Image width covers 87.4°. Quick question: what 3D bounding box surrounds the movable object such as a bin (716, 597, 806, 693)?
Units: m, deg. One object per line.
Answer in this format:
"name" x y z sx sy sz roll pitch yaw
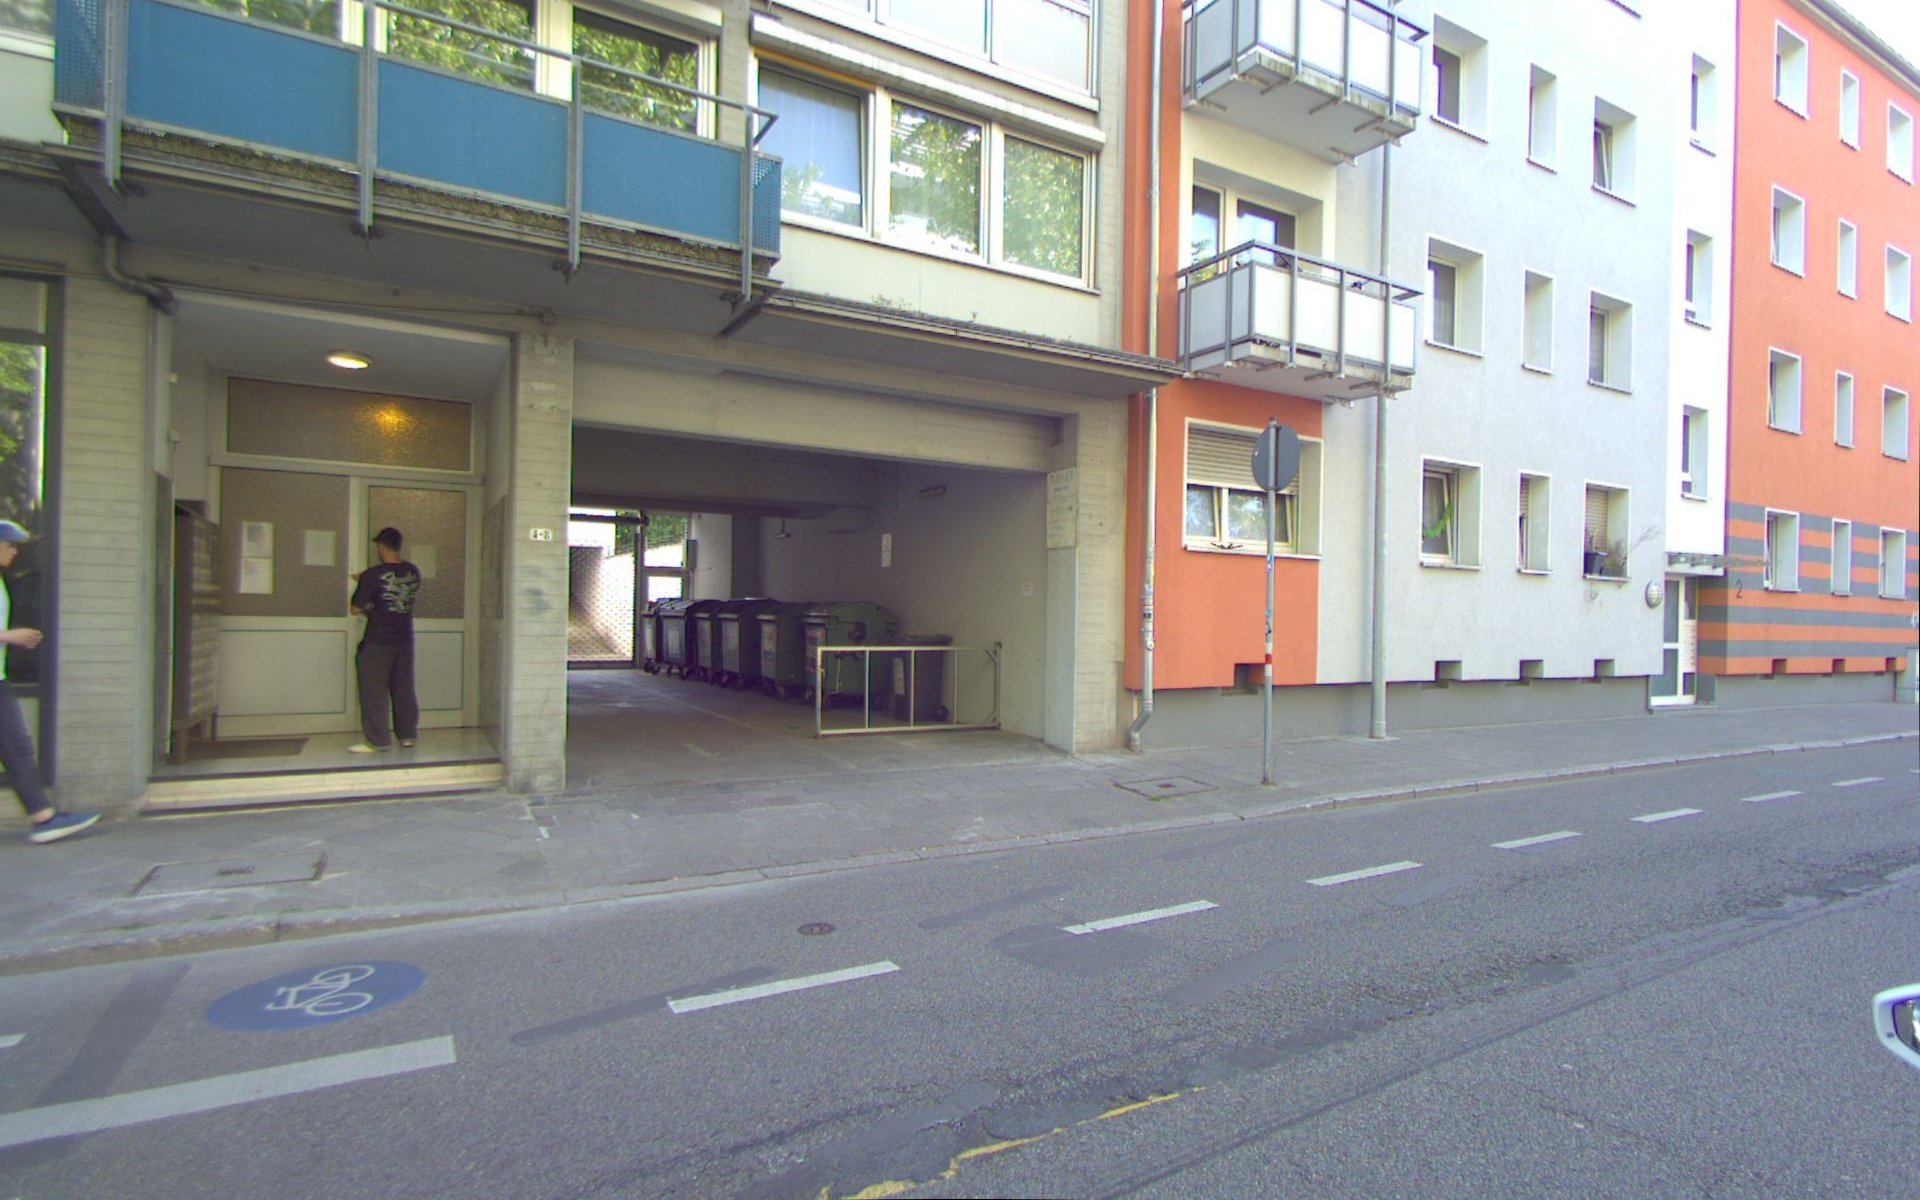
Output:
"movable object such as a bin" -3.302 0.723 16.638 1.167 1.503 1.073 1 0 -30

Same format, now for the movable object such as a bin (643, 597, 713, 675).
"movable object such as a bin" -5.604 0.703 19.941 1.167 1.503 0.819 1 0 -30

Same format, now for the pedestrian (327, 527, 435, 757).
"pedestrian" -4.611 0.322 7.997 0.656 1.736 0.542 1 0 -38

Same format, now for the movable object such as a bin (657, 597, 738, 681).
"movable object such as a bin" -4.888 0.708 18.695 1.167 1.503 1.215 1 0 -30

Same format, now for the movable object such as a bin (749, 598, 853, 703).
"movable object such as a bin" -2.410 0.730 15.149 1.167 1.503 1.252 1 0 -30

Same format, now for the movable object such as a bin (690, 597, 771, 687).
"movable object such as a bin" -4.042 0.720 17.633 1.080 1.503 1.159 1 0 -30

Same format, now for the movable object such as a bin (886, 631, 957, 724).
"movable object such as a bin" -0.483 0.942 12.467 0.687 1.094 0.579 1 0 -30

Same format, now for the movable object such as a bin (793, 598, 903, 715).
"movable object such as a bin" -1.550 0.740 13.781 1.086 1.503 1.251 1 0 -30

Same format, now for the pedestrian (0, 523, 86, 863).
"pedestrian" -5.399 0.489 5.524 0.873 1.824 0.594 1 2 -42
